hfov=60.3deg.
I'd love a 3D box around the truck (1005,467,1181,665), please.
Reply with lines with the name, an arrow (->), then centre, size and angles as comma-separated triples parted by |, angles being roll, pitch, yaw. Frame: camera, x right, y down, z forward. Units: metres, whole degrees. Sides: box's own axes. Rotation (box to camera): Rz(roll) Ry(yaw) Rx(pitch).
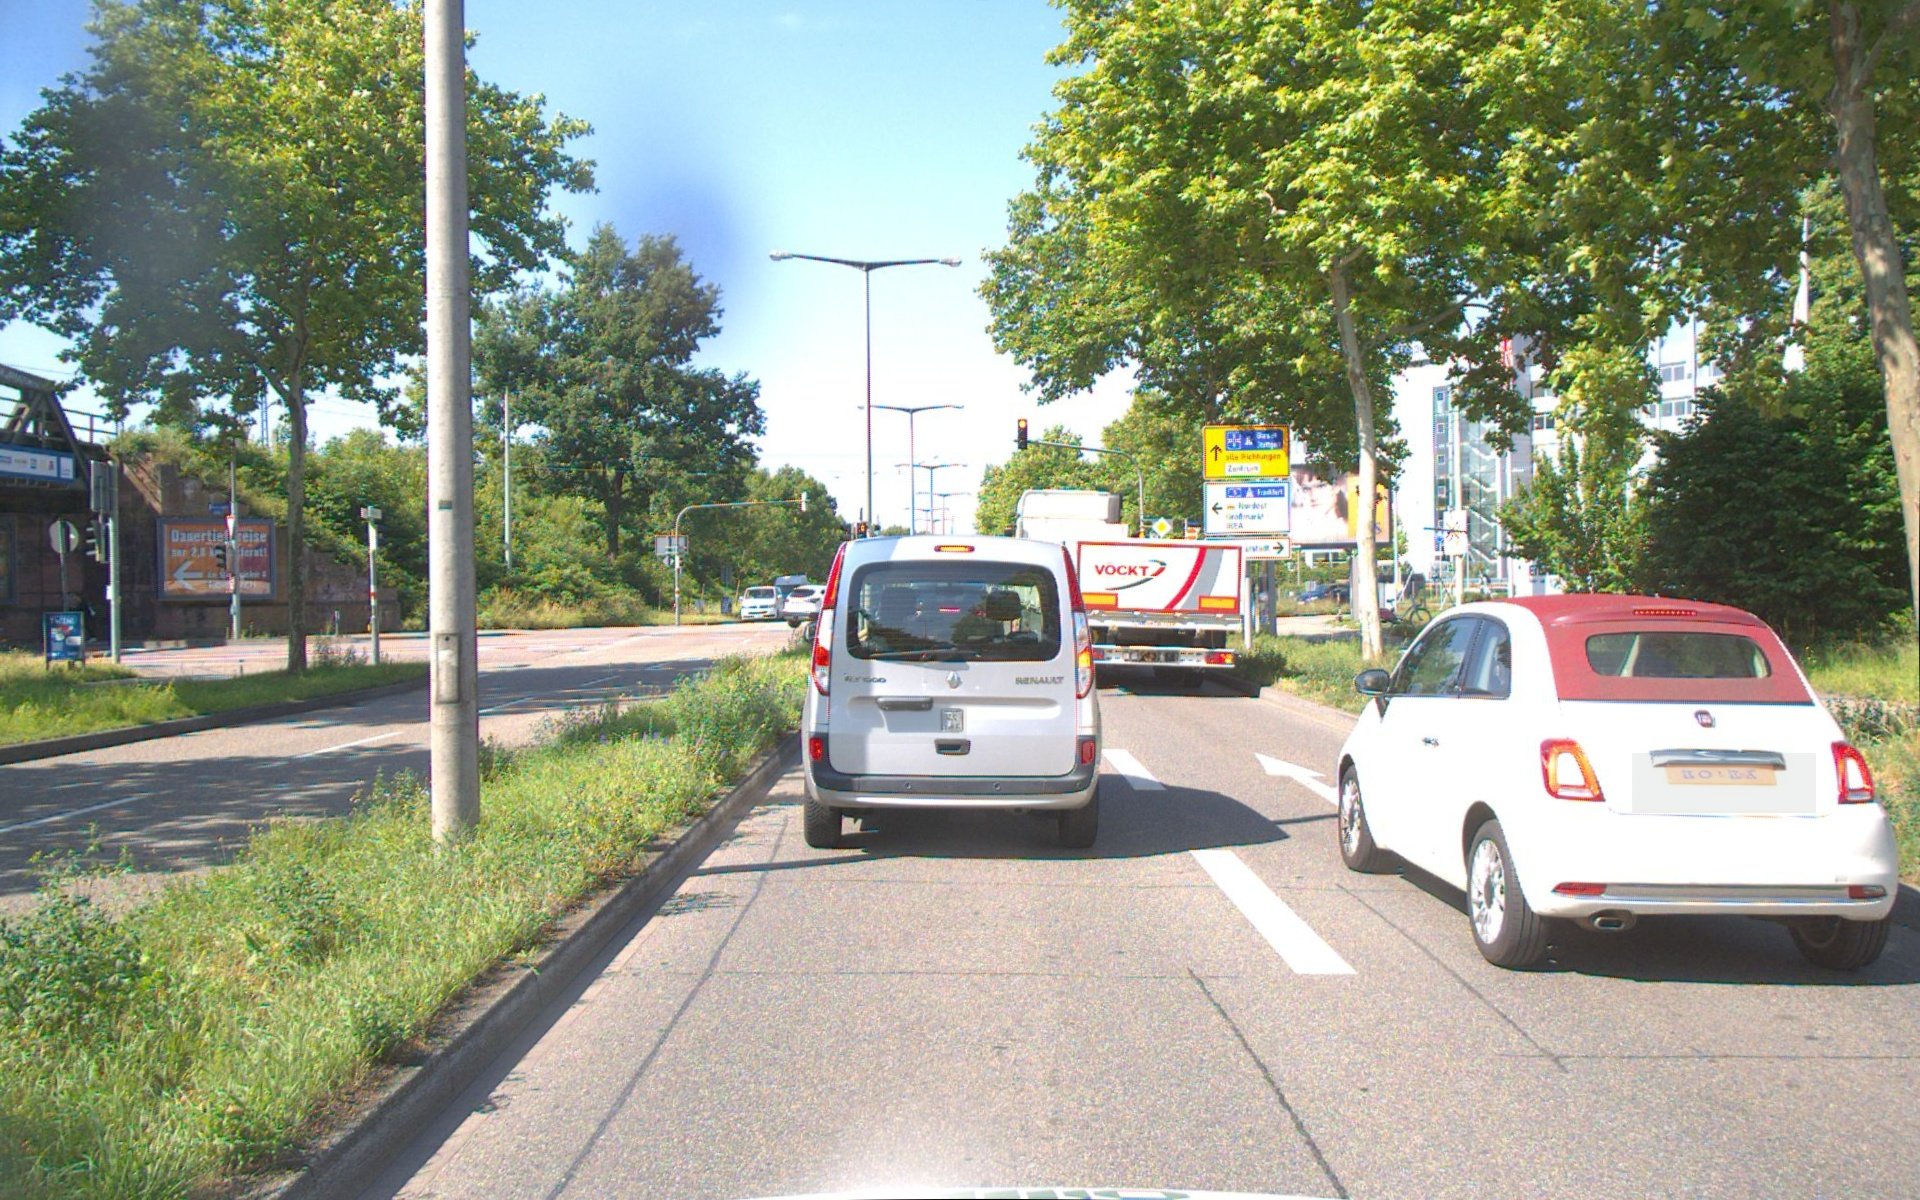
truck -> 2.683, -0.661, 35.890 | 3.009, 3.823, 7.474 | 0, 0, -2

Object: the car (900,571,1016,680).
car -> -0.099, 0.401, 28.263 | 1.773, 1.713, 3.998 | 0, 0, -3

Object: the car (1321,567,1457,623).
car -> 13.377, -0.151, 51.732 | 3.903, 1.691, 1.724 | 0, 0, 4

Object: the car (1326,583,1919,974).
car -> 2.953, 0.670, 7.985 | 1.627, 1.461, 3.520 | 0, 0, 1

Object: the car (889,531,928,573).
car -> -2.680, -2.469, 85.567 | 1.681, 2.049, 3.995 | 0, 0, -6

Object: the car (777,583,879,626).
car -> -5.164, 0.175, 65.241 | 1.957, 1.655, 4.105 | 0, 0, 32

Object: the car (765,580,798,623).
car -> -11.310, 0.088, 104.472 | 2.019, 2.660, 5.861 | 0, 0, -7

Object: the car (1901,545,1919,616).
car -> 25.286, -0.463, 40.456 | 3.684, 1.746, 1.757 | 0, 0, 43

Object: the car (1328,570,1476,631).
car -> 12.822, 0.009, 48.113 | 3.903, 1.691, 1.724 | 0, 0, 4

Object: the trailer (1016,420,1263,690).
trailer -> 2.752, -0.641, 29.526 | 2.954, 3.806, 12.238 | 0, 0, 0

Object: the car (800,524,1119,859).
car -> -0.038, 0.493, 10.923 | 1.713, 1.803, 3.948 | 0, 0, -1

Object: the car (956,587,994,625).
car -> 0.808, 0.314, 90.211 | 1.953, 2.049, 3.999 | 0, 0, -1

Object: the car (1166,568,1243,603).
car -> 14.351, -0.853, 97.347 | 4.427, 2.049, 2.002 | 0, 0, 8

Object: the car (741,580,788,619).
car -> -10.332, -0.030, 87.681 | 1.953, 1.924, 4.986 | -3, 0, -2
